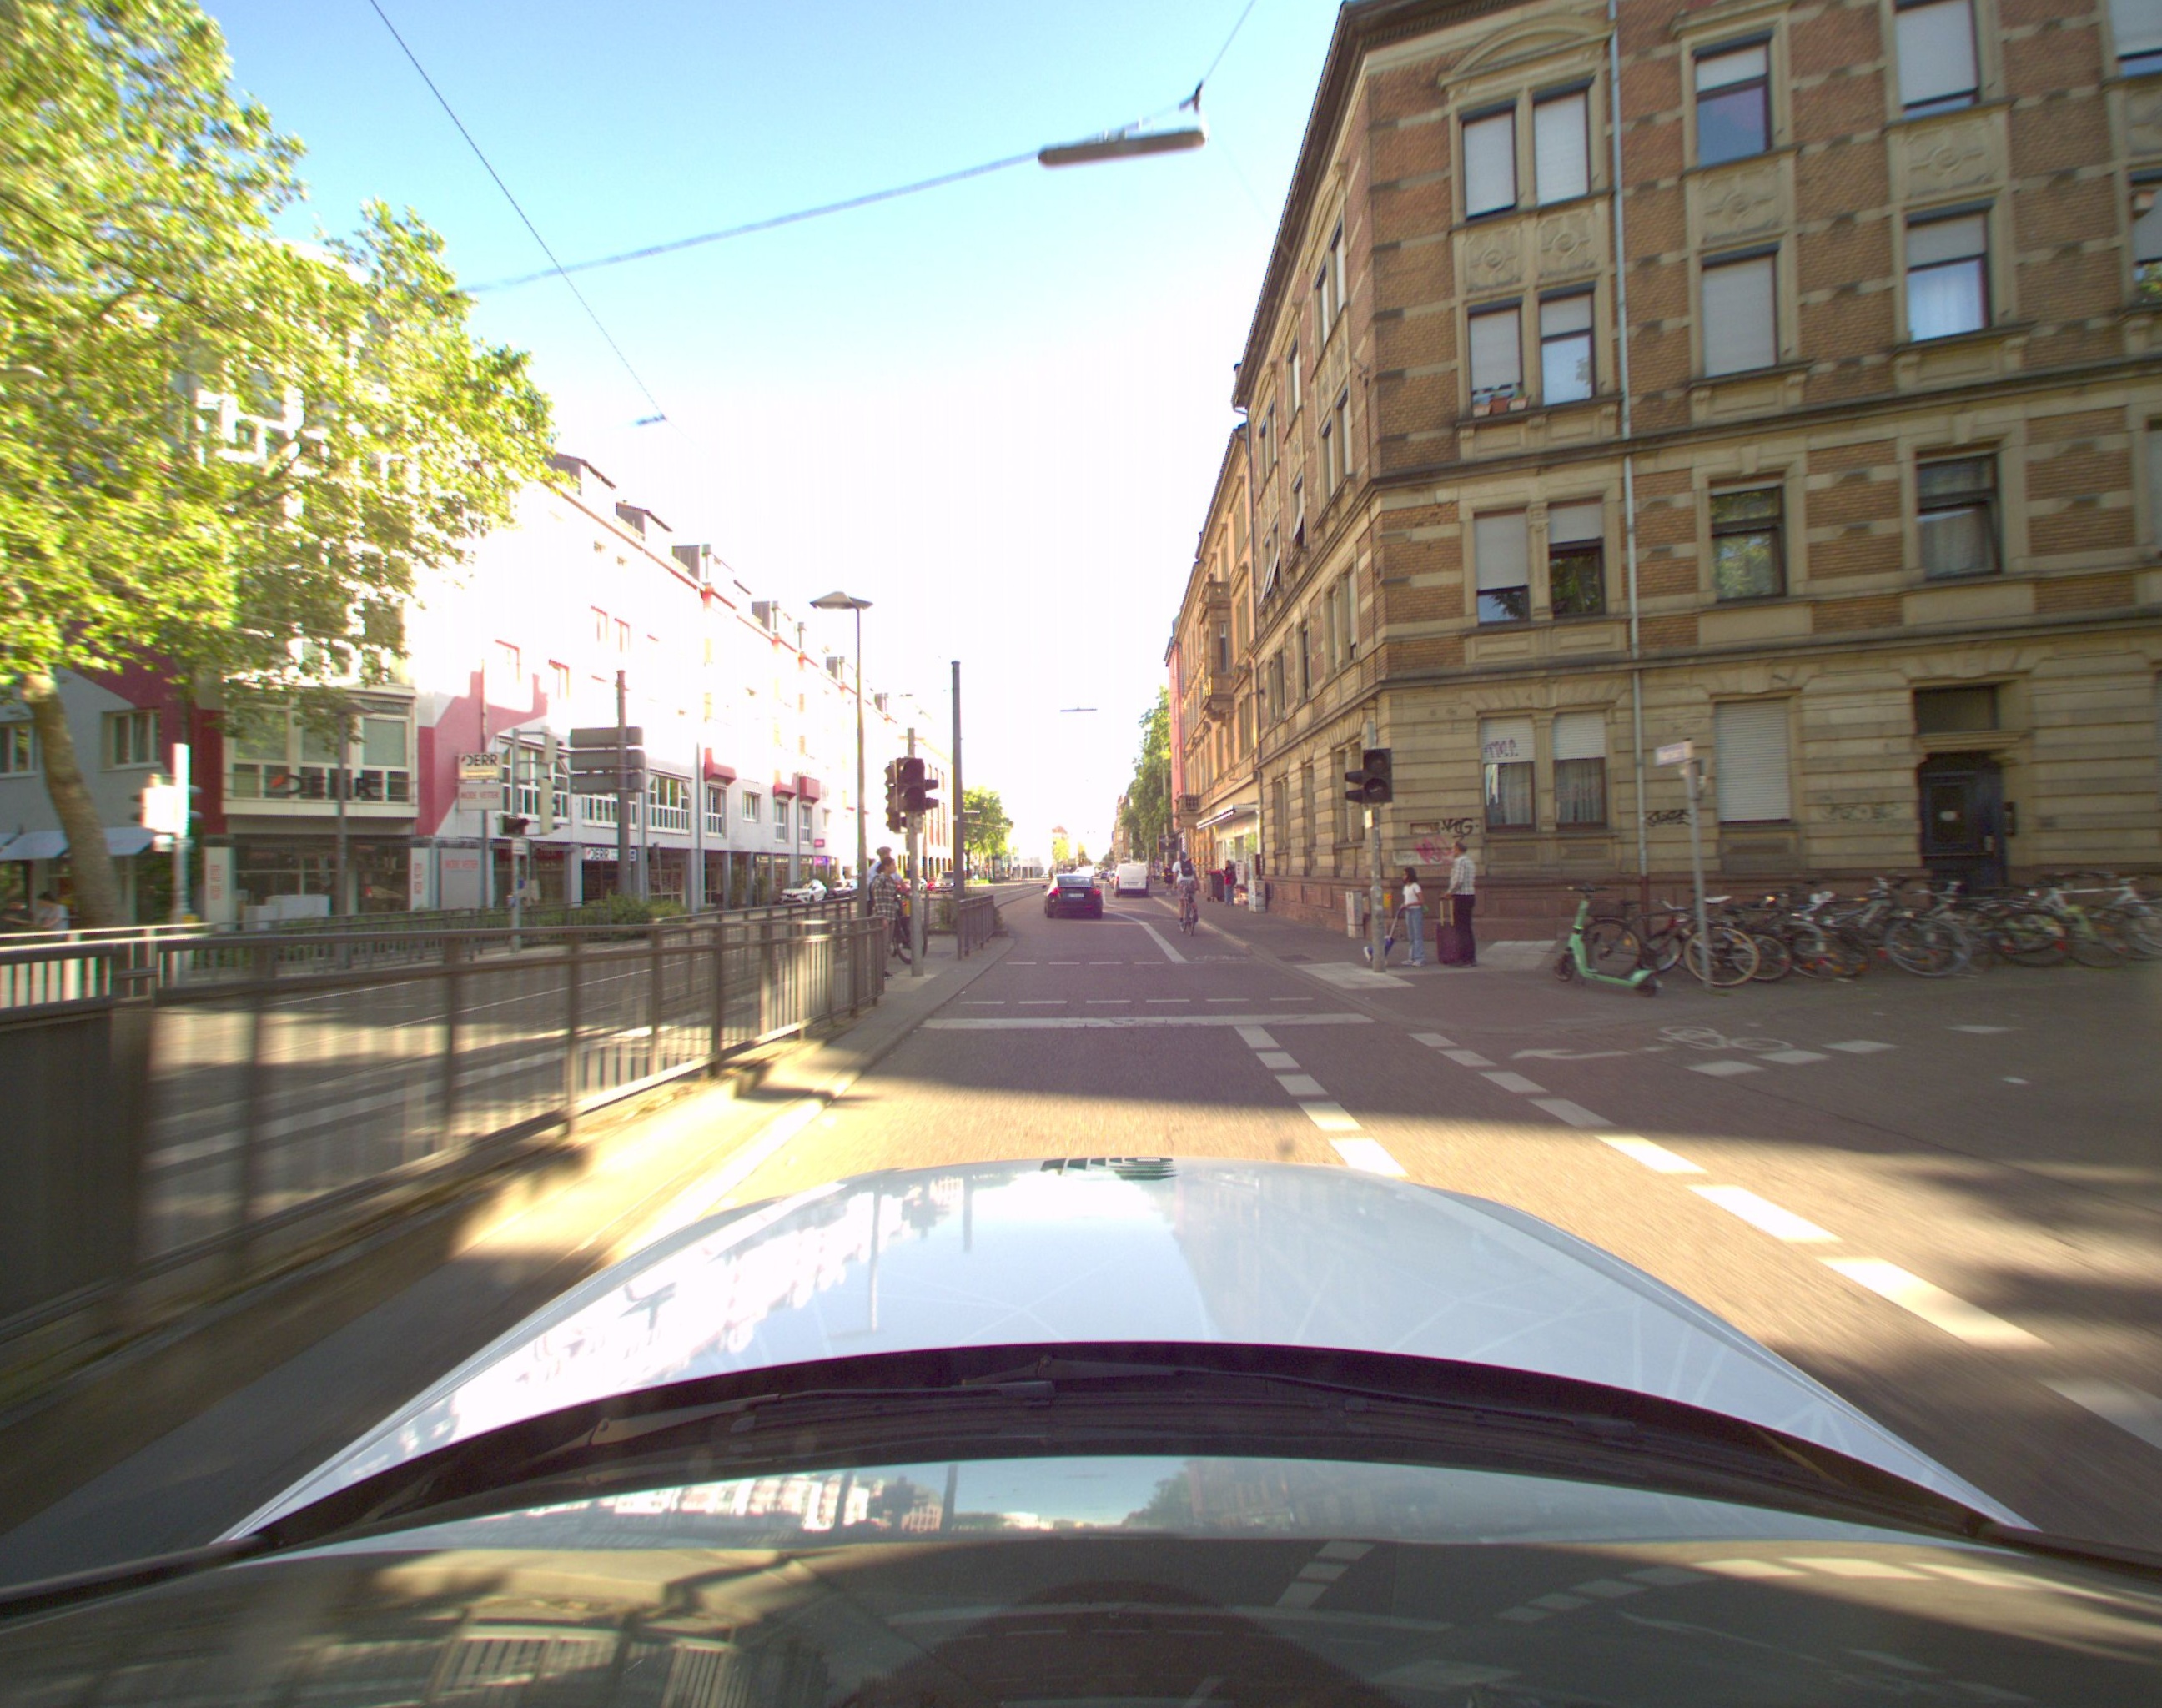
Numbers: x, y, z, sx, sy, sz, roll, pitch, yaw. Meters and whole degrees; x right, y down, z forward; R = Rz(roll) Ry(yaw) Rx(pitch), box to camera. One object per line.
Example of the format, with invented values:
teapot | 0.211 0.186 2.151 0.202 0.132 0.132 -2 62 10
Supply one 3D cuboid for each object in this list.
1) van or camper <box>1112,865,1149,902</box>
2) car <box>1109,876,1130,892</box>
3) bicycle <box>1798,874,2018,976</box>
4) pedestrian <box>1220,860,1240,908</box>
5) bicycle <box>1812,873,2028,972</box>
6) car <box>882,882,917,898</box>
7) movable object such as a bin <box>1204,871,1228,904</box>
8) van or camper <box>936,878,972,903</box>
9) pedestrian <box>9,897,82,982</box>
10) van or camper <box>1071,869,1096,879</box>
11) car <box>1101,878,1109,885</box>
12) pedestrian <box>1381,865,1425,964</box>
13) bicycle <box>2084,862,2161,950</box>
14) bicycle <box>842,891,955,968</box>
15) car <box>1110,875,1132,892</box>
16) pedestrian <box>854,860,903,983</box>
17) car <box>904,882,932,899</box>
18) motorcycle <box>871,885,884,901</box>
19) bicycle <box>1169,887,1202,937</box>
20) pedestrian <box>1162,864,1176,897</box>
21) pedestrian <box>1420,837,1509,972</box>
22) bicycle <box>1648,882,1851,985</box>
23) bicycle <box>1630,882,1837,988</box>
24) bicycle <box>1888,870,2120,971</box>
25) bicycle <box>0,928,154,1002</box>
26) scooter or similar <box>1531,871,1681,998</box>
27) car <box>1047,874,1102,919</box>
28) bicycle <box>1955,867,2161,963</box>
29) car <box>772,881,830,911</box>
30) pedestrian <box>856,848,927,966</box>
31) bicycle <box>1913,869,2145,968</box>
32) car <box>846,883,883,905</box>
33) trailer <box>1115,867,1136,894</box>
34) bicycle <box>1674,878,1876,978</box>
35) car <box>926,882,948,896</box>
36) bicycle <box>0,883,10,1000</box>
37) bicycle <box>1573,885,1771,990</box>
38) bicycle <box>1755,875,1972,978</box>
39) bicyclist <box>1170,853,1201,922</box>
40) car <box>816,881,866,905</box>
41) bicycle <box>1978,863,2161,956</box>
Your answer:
van or camper | 2.824 1.741 47.370 1.924 2.037 5.475 0 -2 1
car | 3.706 2.842 77.370 1.741 1.443 4.322 -1 -2 6
bicycle | 9.878 0.812 9.805 0.446 1.115 1.793 0 -2 -40
pedestrian | 5.487 1.108 30.019 0.464 1.729 0.591 -3 -1 37
bicycle | 10.306 0.812 10.071 0.446 1.115 1.793 0 -2 -40
car | -15.840 3.093 71.368 1.953 1.325 4.820 0 -2 0
movable object such as a bin | 5.698 1.415 34.408 0.773 1.347 1.299 -1 -2 0
van or camper | -10.956 3.161 70.681 1.985 1.940 4.838 -4 -2 4
pedestrian | -20.867 1.705 16.430 0.693 1.637 0.669 0 -2 -32
van or camper | 0.774 5.351 220.350 6.915 2.654 2.121 -1 -2 -40
car | 4.914 5.653 168.760 1.587 1.433 3.687 -2 -2 2
pedestrian | 4.743 0.871 12.028 0.569 1.415 0.583 0 -2 19
bicycle | 13.988 0.656 10.261 0.441 1.115 1.815 -1 -2 2
bicycle | -2.983 1.187 13.227 1.920 1.094 0.602 1 -2 35
car | 3.543 2.641 72.747 1.797 1.435 4.322 1 -2 0
pedestrian | -2.720 0.896 10.986 0.517 1.591 0.665 2 -2 -8
car | -15.404 3.429 76.972 1.663 1.469 4.290 0 -2 1
motorcycle | -17.157 3.306 68.662 0.517 1.298 2.082 0 -1 1
bicycle | 2.566 1.396 20.129 0.645 1.139 2.097 -1 -2 3
pedestrian | 4.892 1.475 45.313 0.670 1.814 0.756 -1 -2 0
pedestrian | 5.386 0.689 11.489 0.843 1.808 0.877 -2 -1 6
bicycle | 7.961 0.907 9.781 0.446 1.115 1.793 0 -2 -40
bicycle | 7.561 0.899 9.528 0.446 1.115 1.793 0 -2 -39
bicycle | 11.109 0.770 9.880 0.446 1.115 1.793 0 -2 -40
bicycle | -15.945 1.710 12.526 0.639 0.966 2.184 -3 -2 38
scooter or similar | 5.813 0.841 9.113 0.391 1.289 1.515 -1 -1 -14
car | -0.192 1.393 27.472 1.714 1.405 3.709 0 -1 0
bicycle | 12.498 0.747 10.354 0.446 1.115 1.797 0 -2 -30
car | -16.317 2.420 47.689 1.912 1.614 4.366 -1 -2 -1
pedestrian | -3.041 0.826 13.136 0.587 1.822 0.948 -1 -2 34
bicycle | 11.593 0.766 10.044 0.446 1.115 1.793 0 -2 -40
car | -15.921 2.929 60.078 1.746 1.475 4.204 -1 -2 -2
trailer | 3.540 2.120 64.770 1.654 2.117 3.844 0 -2 3
bicycle | 8.432 0.865 9.975 0.446 1.115 1.793 0 -2 -40
car | -15.270 3.748 86.469 1.653 1.422 3.620 0 -2 1
bicycle | -16.320 1.302 12.023 0.639 1.716 0.587 -3 -2 38
bicycle | 6.886 0.929 9.587 0.446 1.115 1.793 0 -2 -39
bicycle | 9.277 0.830 9.728 0.446 1.115 1.793 0 -2 -40
bicyclist | 2.573 0.821 20.110 0.652 1.656 0.928 -1 -2 3
car | -16.042 2.607 54.654 1.895 1.458 4.825 -1 -2 1
bicycle | 12.996 0.696 10.529 0.446 1.115 1.797 0 -2 -30
